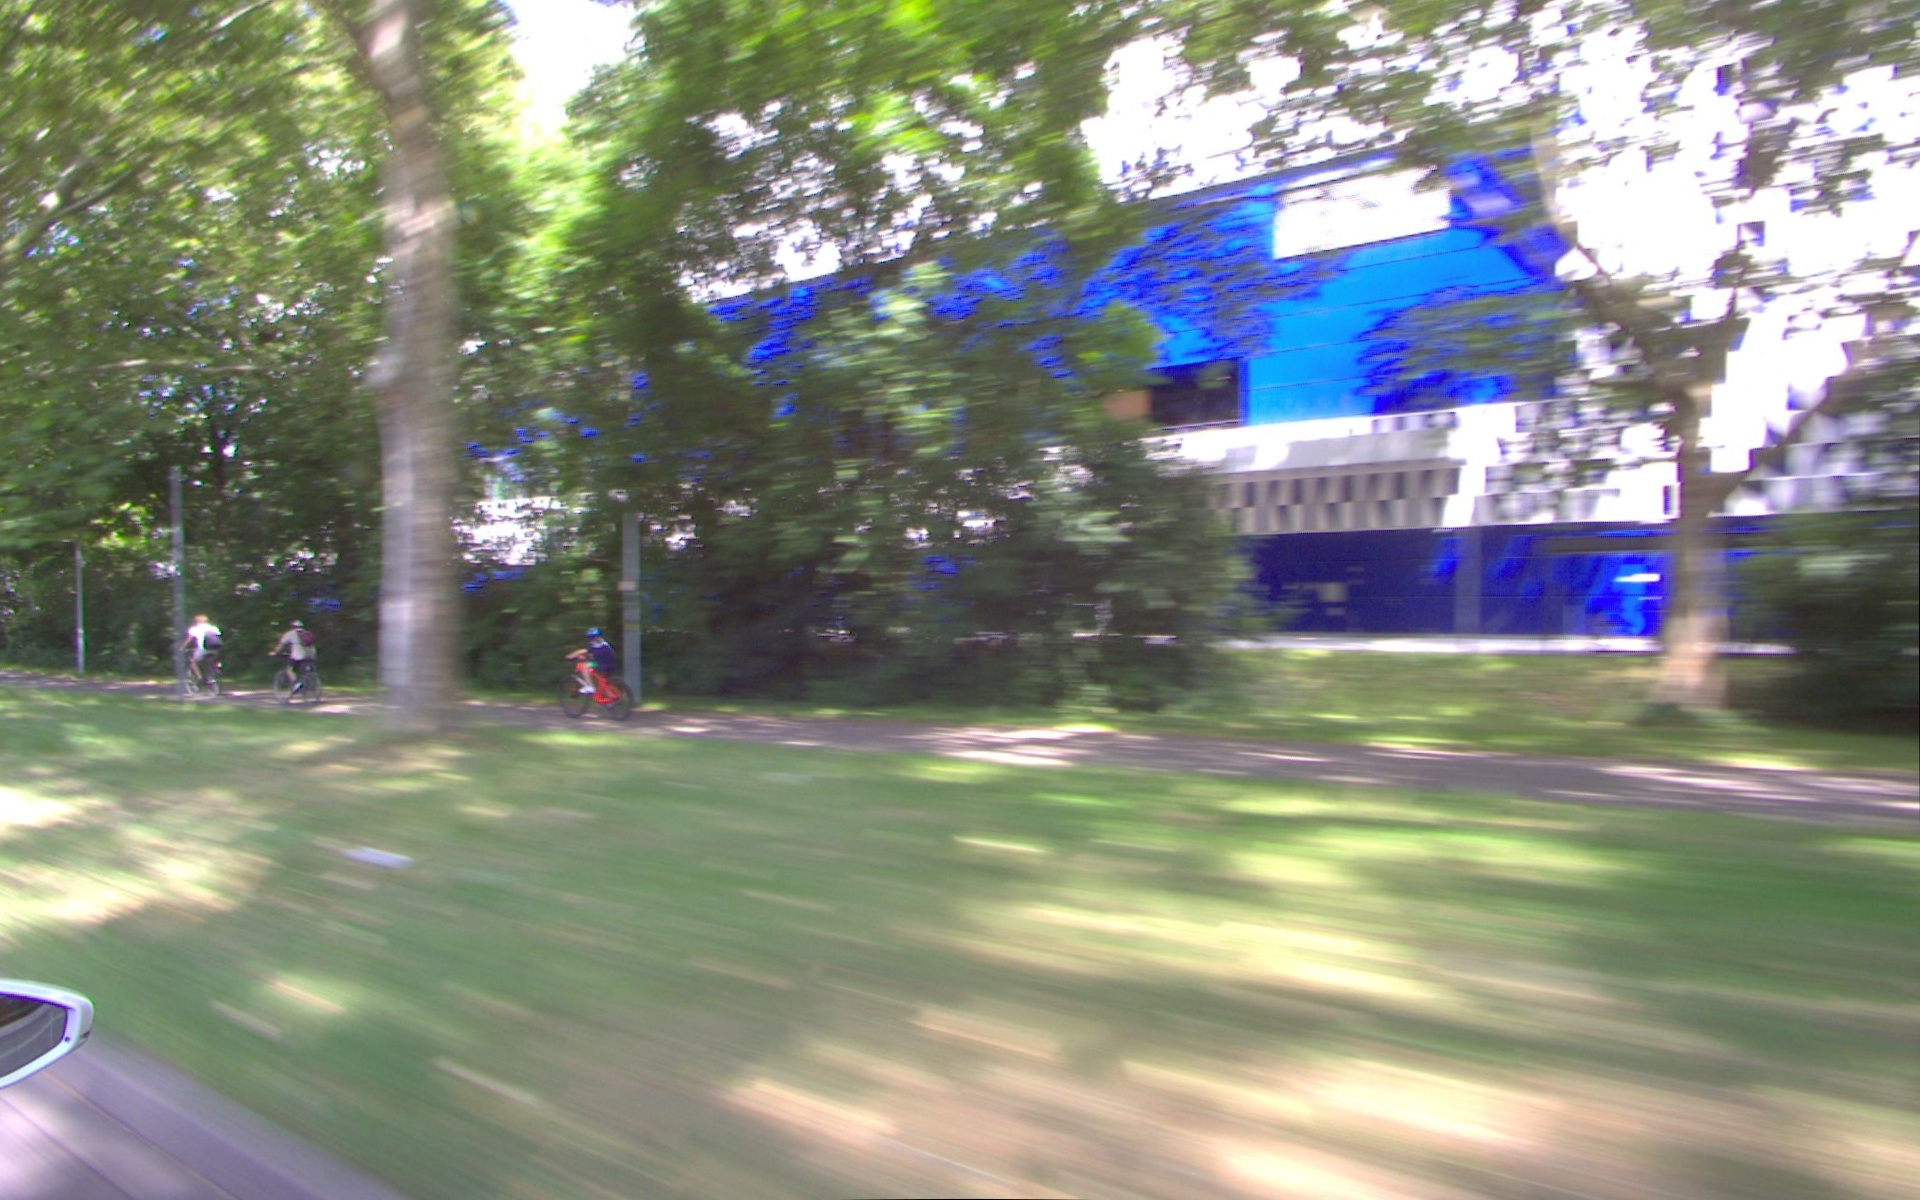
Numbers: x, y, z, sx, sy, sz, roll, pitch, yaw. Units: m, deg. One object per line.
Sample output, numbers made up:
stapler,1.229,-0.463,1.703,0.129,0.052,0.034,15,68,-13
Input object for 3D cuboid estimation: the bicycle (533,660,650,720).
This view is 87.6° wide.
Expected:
bicycle,-6.190,1.493,16.811,1.990,0.898,0.645,-1,0,26

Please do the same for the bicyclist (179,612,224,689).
bicyclist,-17.824,1.178,23.532,0.831,1.769,0.596,0,0,32

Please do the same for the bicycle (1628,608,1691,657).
bicycle,14.731,0.662,21.137,0.855,0.981,2.058,0,-1,28

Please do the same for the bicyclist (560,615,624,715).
bicyclist,-6.177,1.061,16.820,0.803,1.631,0.623,0,0,26

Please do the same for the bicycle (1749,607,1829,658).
bicycle,16.725,0.637,20.258,0.855,0.981,2.058,0,-1,28

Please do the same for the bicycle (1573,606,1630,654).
bicycle,13.813,0.631,21.610,0.855,0.981,2.058,0,-1,28

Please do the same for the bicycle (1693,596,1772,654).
bicycle,15.869,0.503,20.643,0.855,1.132,2.625,0,-1,28

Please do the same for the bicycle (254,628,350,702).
bicycle,-13.687,1.308,20.809,2.623,1.438,0.609,-1,0,32

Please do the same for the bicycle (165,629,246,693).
bicycle,-17.888,1.417,23.725,2.623,1.438,0.609,-1,0,32

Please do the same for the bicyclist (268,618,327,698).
bicyclist,-13.818,1.186,20.872,1.038,1.620,0.657,-1,0,32
